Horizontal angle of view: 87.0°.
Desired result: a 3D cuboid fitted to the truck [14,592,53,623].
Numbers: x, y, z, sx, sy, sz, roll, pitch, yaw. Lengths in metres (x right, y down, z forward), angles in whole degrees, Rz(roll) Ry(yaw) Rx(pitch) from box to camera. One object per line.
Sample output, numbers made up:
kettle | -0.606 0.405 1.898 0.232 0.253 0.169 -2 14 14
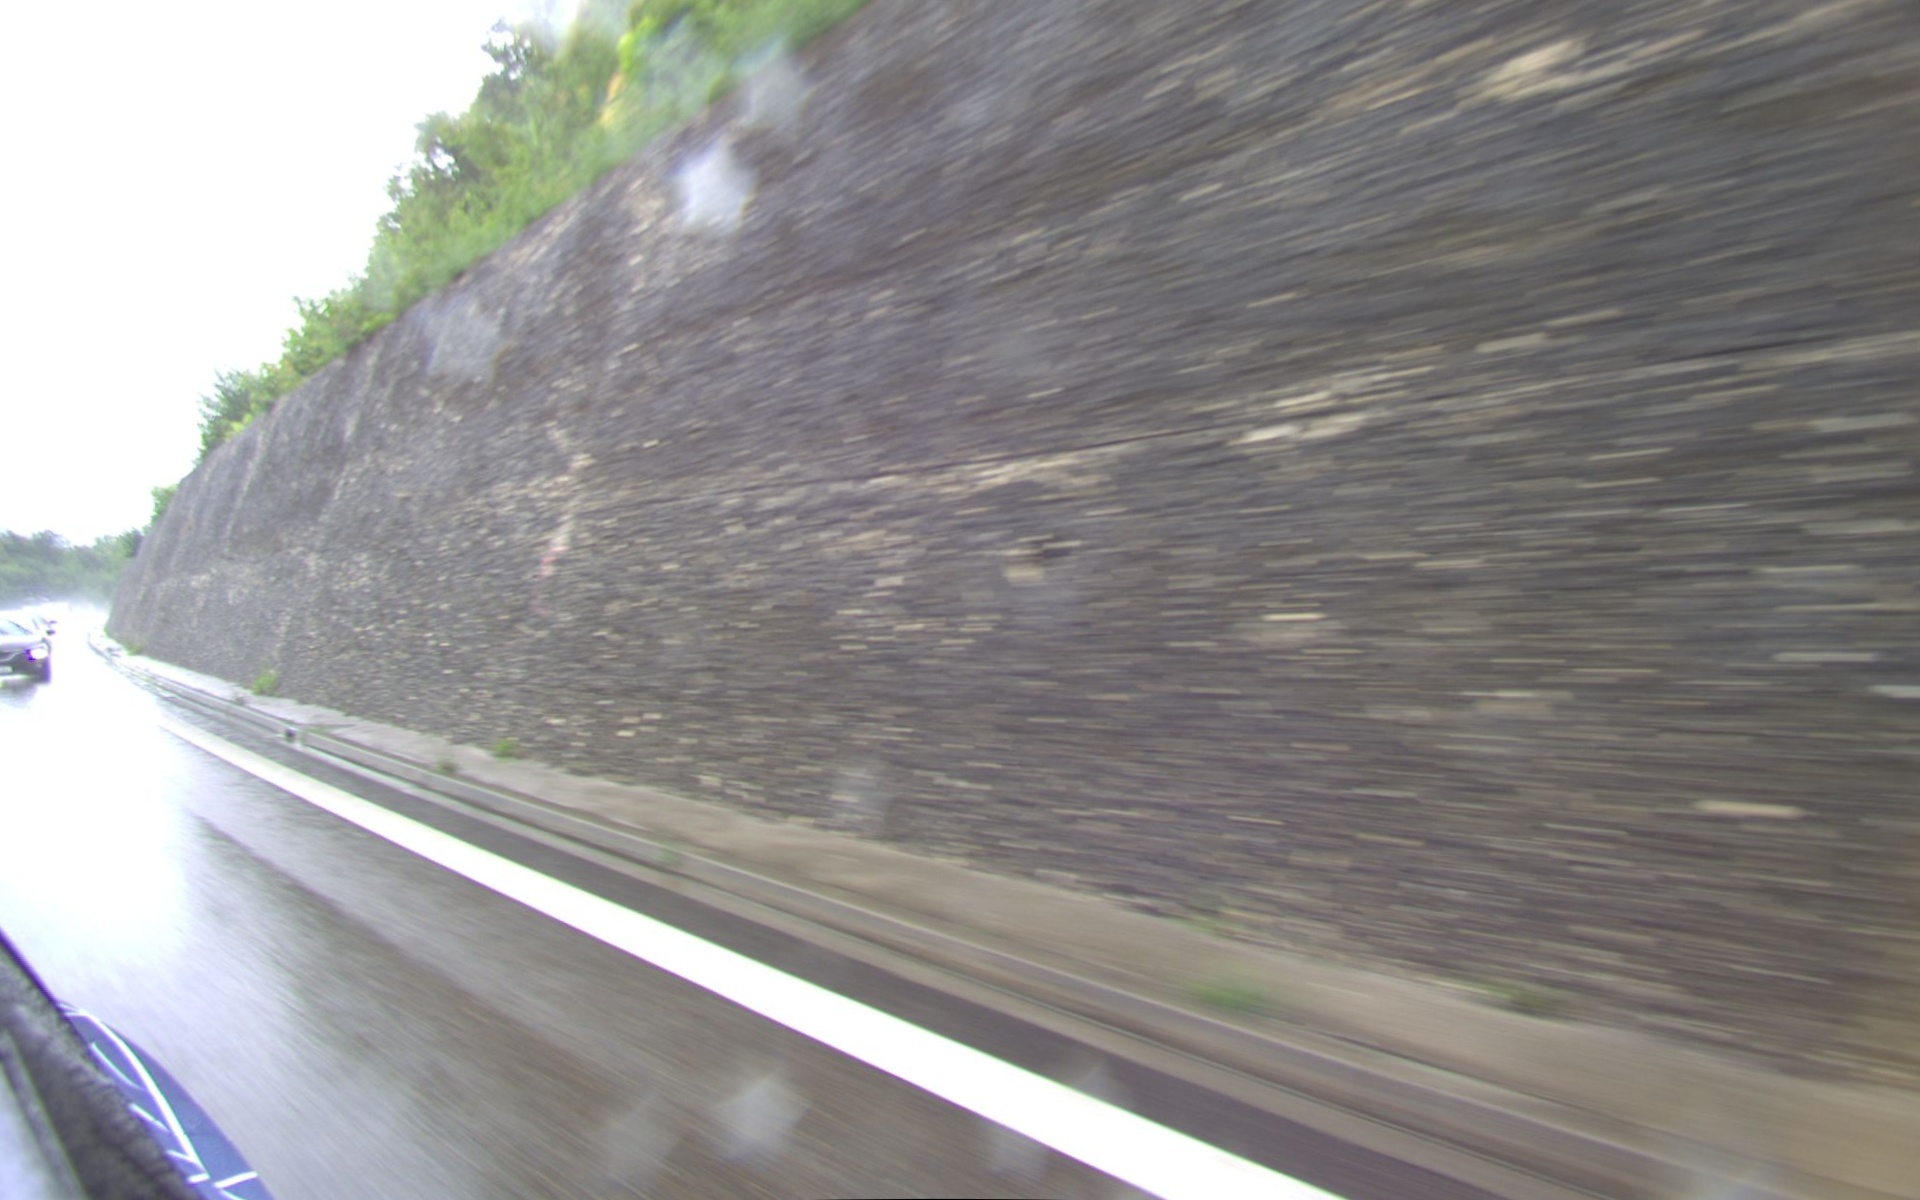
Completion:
truck | -133.782 1.049 146.212 2.765 4.338 6.485 0 -1 -30

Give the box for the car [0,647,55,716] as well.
car | -20.911 1.724 21.801 4.001 1.394 1.802 -3 -3 44

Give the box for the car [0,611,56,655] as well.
car | -33.363 1.143 35.926 1.801 1.393 4.004 -3 2 -43

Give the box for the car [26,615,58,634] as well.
car | -74.522 2.006 82.186 1.800 1.393 4.006 -3 2 -41
